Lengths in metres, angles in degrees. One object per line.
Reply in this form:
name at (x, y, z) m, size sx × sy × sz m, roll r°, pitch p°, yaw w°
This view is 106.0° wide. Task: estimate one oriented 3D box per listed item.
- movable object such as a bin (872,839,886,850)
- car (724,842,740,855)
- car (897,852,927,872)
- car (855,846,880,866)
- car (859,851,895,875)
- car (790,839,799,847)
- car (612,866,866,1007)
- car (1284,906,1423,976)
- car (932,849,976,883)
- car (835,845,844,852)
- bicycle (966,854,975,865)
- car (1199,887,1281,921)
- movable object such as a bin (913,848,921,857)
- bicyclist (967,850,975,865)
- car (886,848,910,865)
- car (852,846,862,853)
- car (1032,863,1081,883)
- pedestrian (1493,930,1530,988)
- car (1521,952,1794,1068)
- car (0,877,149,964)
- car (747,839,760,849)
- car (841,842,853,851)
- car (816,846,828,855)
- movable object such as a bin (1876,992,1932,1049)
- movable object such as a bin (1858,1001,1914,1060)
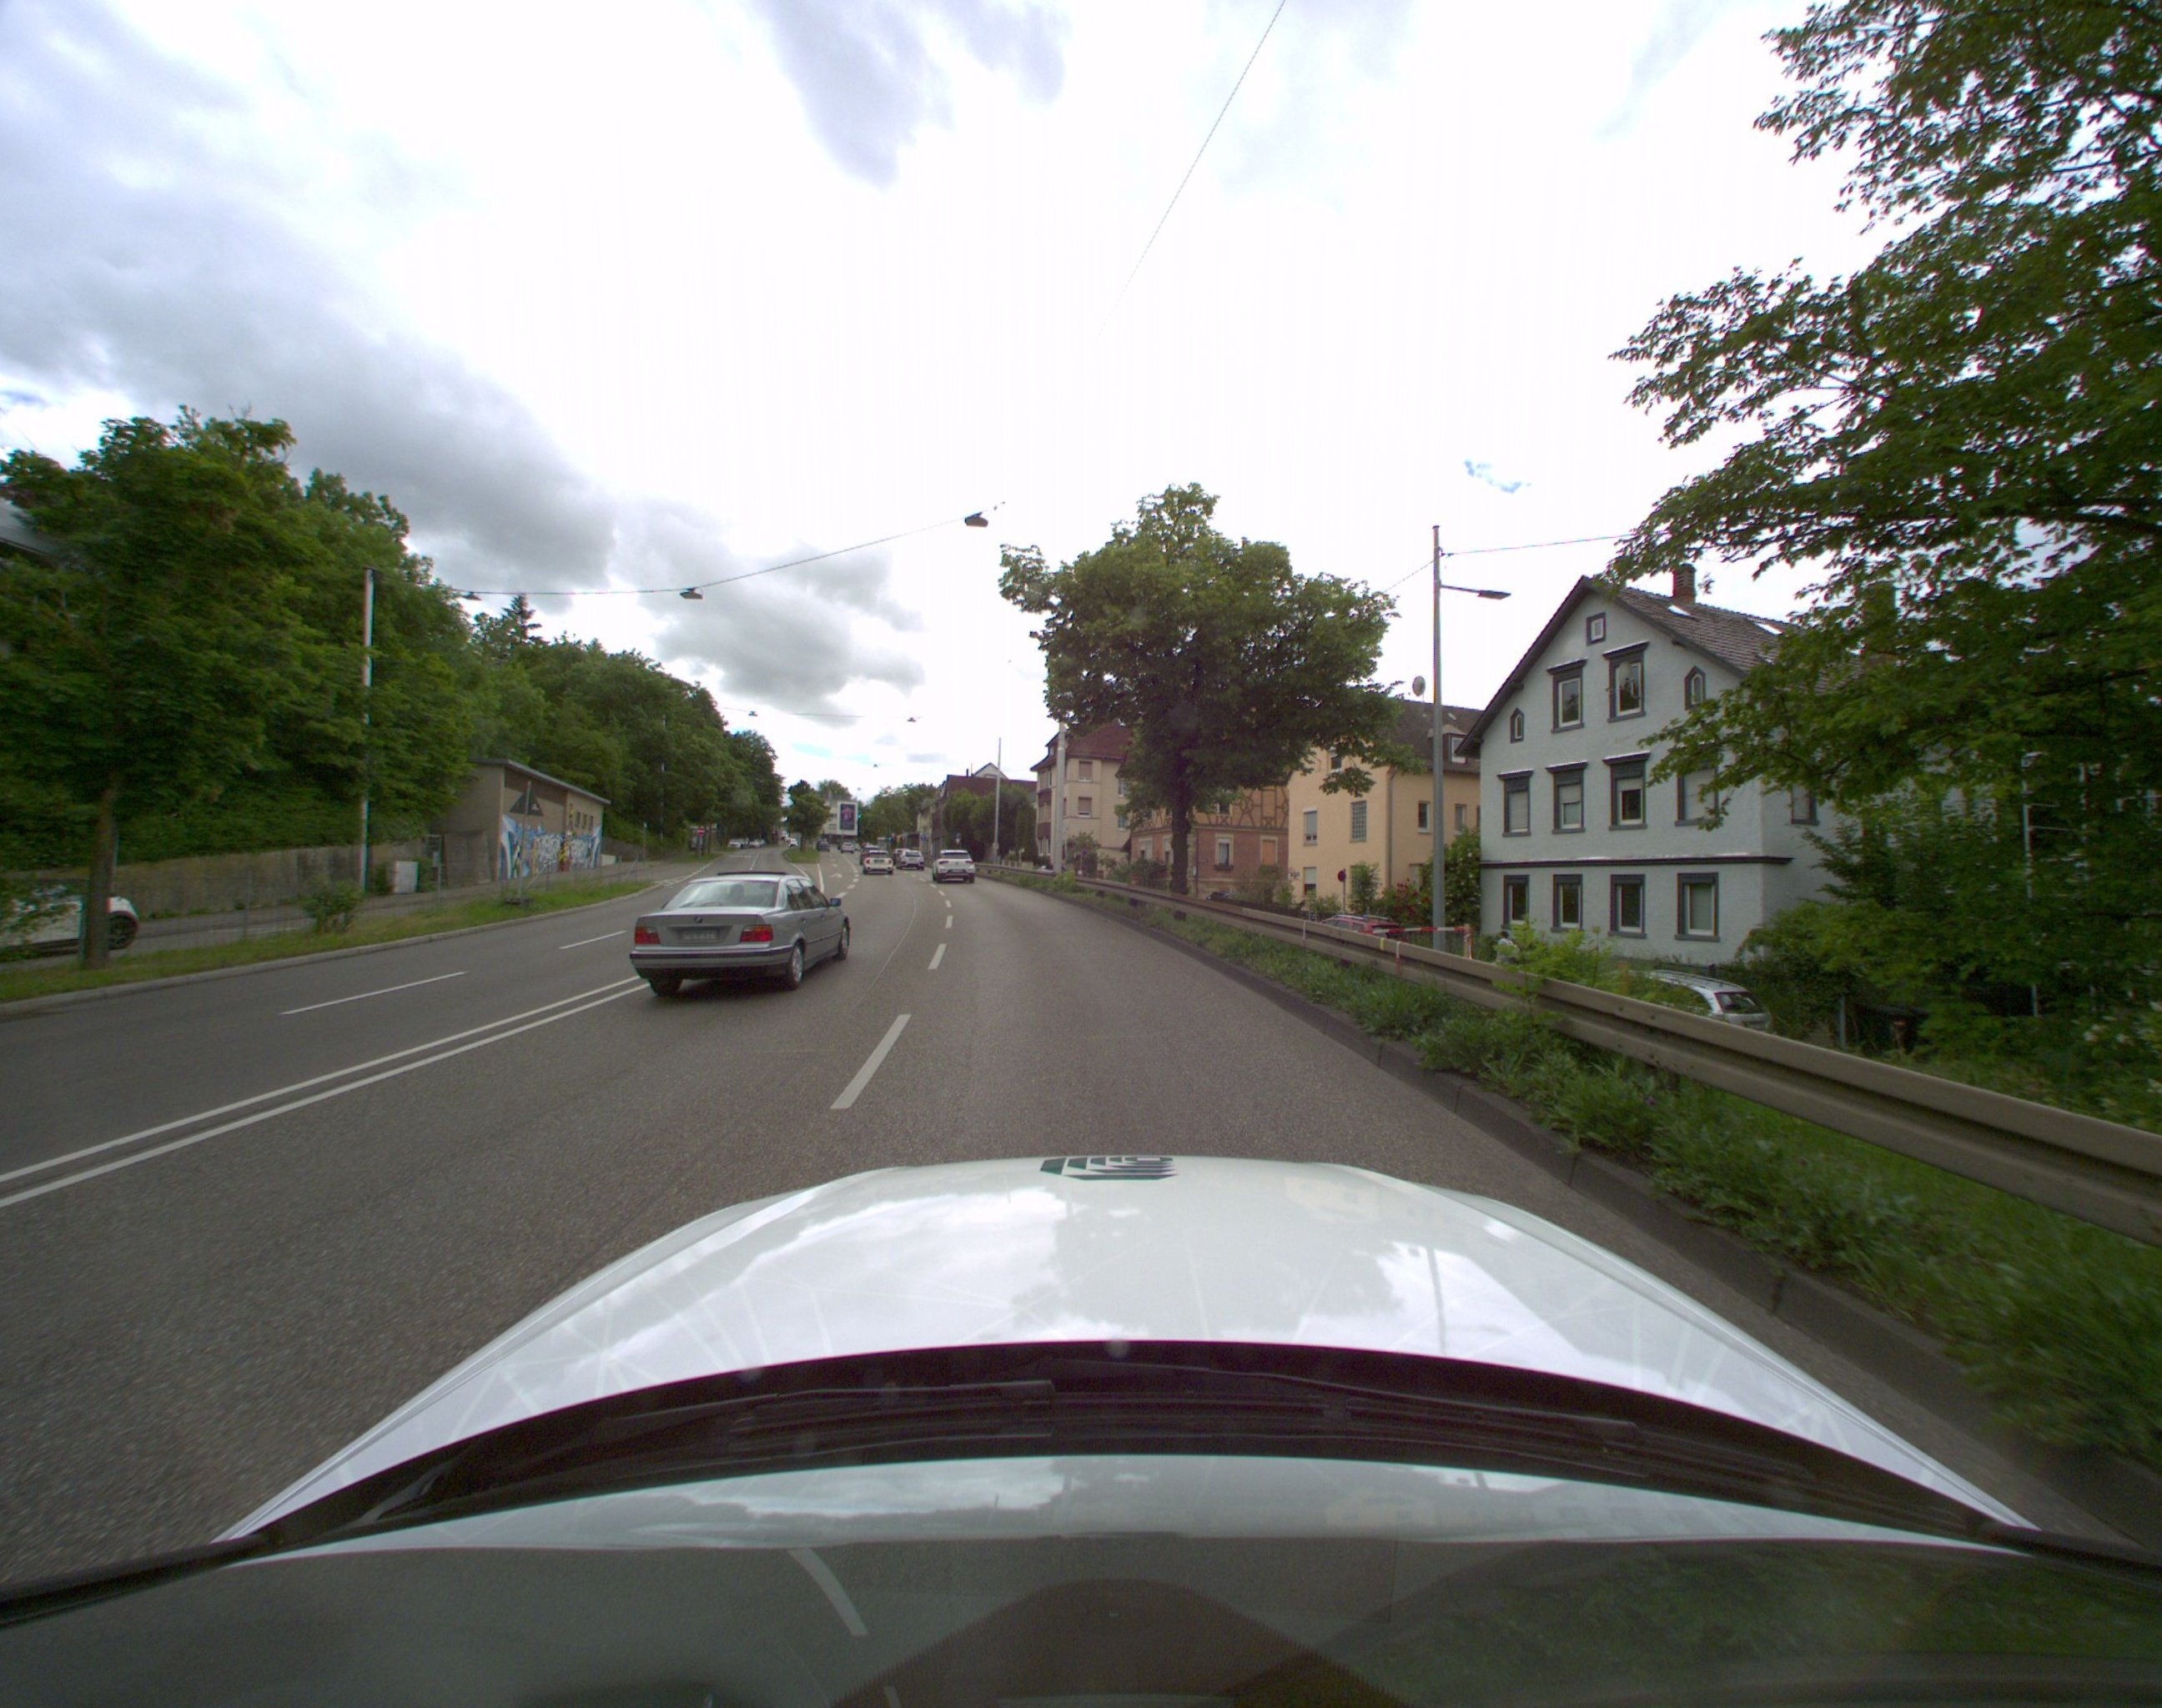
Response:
movable object such as a bin at (-35.050, -1.672, 141.320) m, size 1.901 × 1.870 × 1.515 m, roll 3°, pitch 0°, yaw -27°
car at (-51.822, -0.824, 120.860) m, size 1.866 × 1.670 × 4.251 m, roll 3°, pitch 0°, yaw -20°
car at (-12.387, 0.571, 59.636) m, size 1.728 × 1.376 × 3.434 m, roll -1°, pitch 0°, yaw -19°
car at (-18.152, 0.147, 69.230) m, size 1.729 × 1.640 × 3.433 m, roll -1°, pitch 0°, yaw -21°
car at (-12.433, 0.531, 49.442) m, size 1.729 × 1.376 × 3.433 m, roll -1°, pitch 0°, yaw -21°
car at (-64.820, -2.424, 184.203) m, size 1.865 × 1.670 × 4.252 m, roll 3°, pitch 0°, yaw -19°
car at (-4.186, 0.891, 10.845) m, size 1.631 × 1.383 × 4.614 m, roll -2°, pitch 0°, yaw -3°
car at (8.404, 2.639, 25.491) m, size 1.789 × 1.670 × 4.172 m, roll 3°, pitch 0°, yaw -22°
car at (-6.187, 0.548, 39.367) m, size 1.799 × 1.519 × 3.441 m, roll -1°, pitch 0°, yaw -13°
car at (-50.567, -1.114, 170.543) m, size 1.728 × 1.376 × 3.435 m, roll -1°, pitch 0°, yaw -19°
bicycle at (-11.053, 0.555, 81.420) m, size 0.568 × 1.063 × 1.992 m, roll -1°, pitch 2°, yaw -20°
car at (8.853, 2.802, 45.402) m, size 4.000 × 1.574 × 1.987 m, roll 4°, pitch 0°, yaw -20°
movable object such as a bin at (-28.268, -0.274, 140.399) m, size 1.199 × 1.408 × 0.706 m, roll 3°, pitch 0°, yaw -19°
bicyclist at (-11.020, 0.335, 81.301) m, size 0.568 × 1.524 × 0.953 m, roll -1°, pitch 1°, yaw -20°
car at (-16.388, 0.217, 72.882) m, size 1.728 × 1.376 × 3.433 m, roll -1°, pitch 0°, yaw -20°
car at (-45.498, -0.813, 165.476) m, size 1.728 × 1.376 × 3.435 m, roll -1°, pitch 0°, yaw -19°
car at (-2.039, 1.612, 67.852) m, size 3.628 × 1.435 × 1.687 m, roll 4°, pitch 0°, yaw -34°
pedestrian at (11.584, 2.825, 21.917) m, size 0.619 × 1.480 × 0.586 m, roll 3°, pitch 0°, yaw -19°
car at (11.524, 3.038, 16.697) m, size 1.624 × 1.441 × 4.403 m, roll 3°, pitch 0°, yaw -21°
car at (-19.601, 1.211, 14.495) m, size 1.763 × 1.419 × 3.797 m, roll -1°, pitch 0°, yaw -4°
car at (-57.214, -1.817, 142.451) m, size 1.866 × 1.593 × 4.251 m, roll 3°, pitch 0°, yaw -20°
car at (-36.877, -1.107, 128.446) m, size 1.728 × 1.376 × 3.435 m, roll -1°, pitch 0°, yaw -19°
car at (-42.261, -0.569, 133.038) m, size 1.729 × 1.583 × 3.433 m, roll -1°, pitch 0°, yaw -20°
movable object such as a bin at (16.137, 3.248, 15.975) m, size 0.537 × 0.970 × 0.577 m, roll 0°, pitch 0°, yaw -14°
movable object such as a bin at (15.460, 3.371, 15.641) m, size 0.537 × 0.970 × 0.577 m, roll 0°, pitch 0°, yaw -14°
